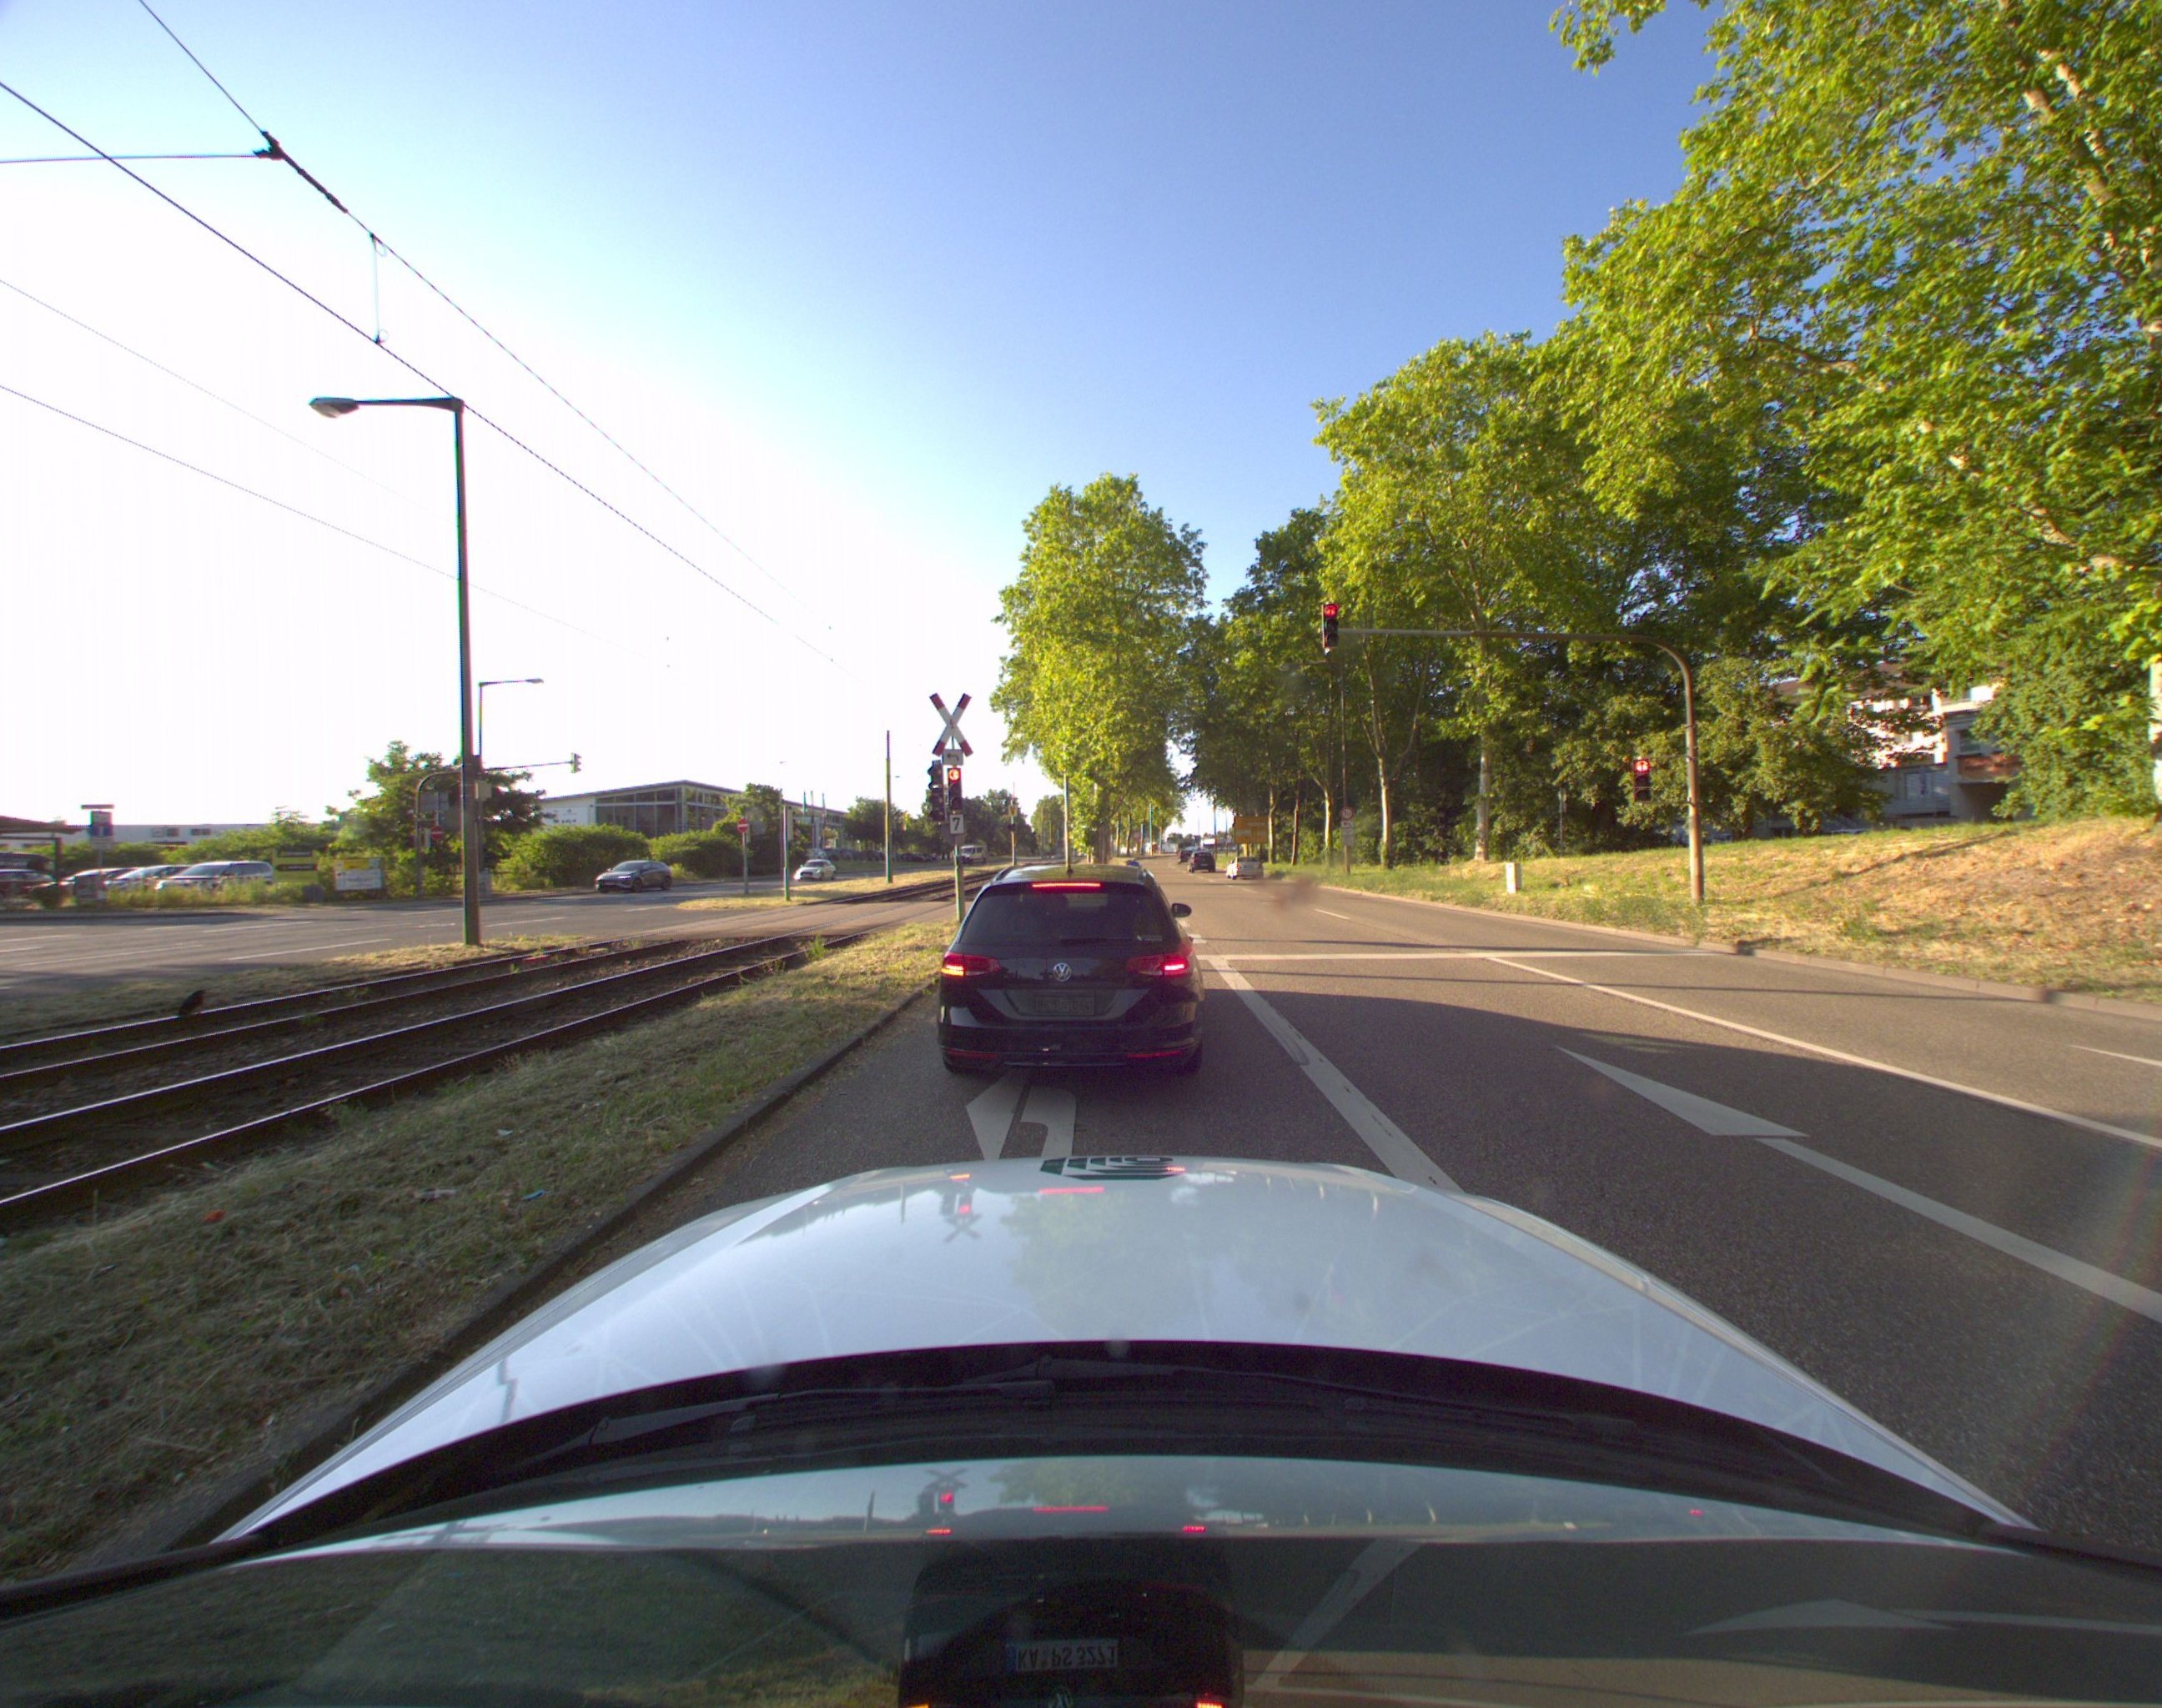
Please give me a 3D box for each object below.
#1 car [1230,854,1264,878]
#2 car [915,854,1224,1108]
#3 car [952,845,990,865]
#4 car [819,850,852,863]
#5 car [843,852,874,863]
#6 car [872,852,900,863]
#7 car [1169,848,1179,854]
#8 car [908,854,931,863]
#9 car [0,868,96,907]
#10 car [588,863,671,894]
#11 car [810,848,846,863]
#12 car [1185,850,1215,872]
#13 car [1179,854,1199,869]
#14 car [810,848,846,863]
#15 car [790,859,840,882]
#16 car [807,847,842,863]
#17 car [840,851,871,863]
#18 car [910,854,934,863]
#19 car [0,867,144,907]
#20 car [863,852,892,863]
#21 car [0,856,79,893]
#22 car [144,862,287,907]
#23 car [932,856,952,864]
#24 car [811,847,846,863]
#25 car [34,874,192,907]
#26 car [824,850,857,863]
[{"bbox_3d":[9.371,0.679,46.178,1.600,1.294,3.991,0,0,7],"label":"car"},{"bbox_3d":[-0.022,0.742,6.534,1.788,1.464,3.584,0,0,1],"label":"car"},{"bbox_3d":[-13.766,0.053,102.547,2.077,2.461,5.884,0,0,22],"label":"car"},{"bbox_3d":[-31.150,0.297,103.430,3.999,1.556,1.732,-1,0,-19],"label":"car"},{"bbox_3d":[-31.435,0.471,115.326,3.983,1.556,1.739,-1,0,-7],"label":"car"},{"bbox_3d":[-30.116,0.584,125.960,3.978,1.621,1.742,-1,0,-3],"label":"car"},{"bbox_3d":[23.544,-0.714,206.394,1.988,1.420,3.997,-1,0,-2],"label":"car"},{"bbox_3d":[-29.101,0.860,146.852,3.978,1.621,1.742,-1,0,-3],"label":"car"},{"bbox_3d":[-47.162,1.454,36.058,1.970,1.583,4.174,0,0,2],"label":"car"},{"bbox_3d":[-23.836,1.264,43.190,1.854,1.481,4.176,0,0,3],"label":"car"},{"bbox_3d":[-29.950,0.161,96.396,3.999,1.704,1.732,-1,0,-19],"label":"car"},{"bbox_3d":[8.807,0.494,60.441,1.701,1.561,4.167,-1,0,2],"label":"car"},{"bbox_3d":[11.853,0.820,89.758,1.864,1.635,4.373,-1,0,3],"label":"car"},{"bbox_3d":[-29.260,0.143,94.127,3.999,1.704,1.732,-1,0,-19],"label":"car"},{"bbox_3d":[-18.930,1.149,58.091,1.853,1.481,4.098,0,0,5],"label":"car"},{"bbox_3d":[-31.644,0.127,100.531,3.999,1.816,1.732,-1,0,-19],"label":"car"},{"bbox_3d":[-31.226,0.433,112.620,3.999,1.556,1.732,-1,0,-19],"label":"car"},{"bbox_3d":[-29.253,0.904,150.021,3.978,1.621,1.742,-1,0,-3],"label":"car"},{"bbox_3d":[-44.712,1.406,35.906,1.855,1.583,4.174,0,0,2],"label":"car"},{"bbox_3d":[-30.605,0.541,122.759,3.978,1.621,1.742,-1,0,-3],"label":"car"},{"bbox_3d":[-60.423,1.155,45.919,1.855,2.014,4.773,0,0,2],"label":"car"},{"bbox_3d":[-38.525,1.324,36.424,1.855,1.821,4.174,0,0,2],"label":"car"},{"bbox_3d":[-28.806,1.176,168.933,3.977,1.556,1.742,-1,0,-2],"label":"car"},{"bbox_3d":[-30.601,0.125,98.750,3.999,1.816,1.732,-1,0,-19],"label":"car"},{"bbox_3d":[-42.473,1.565,35.902,1.855,1.267,4.174,0,0,2],"label":"car"},{"bbox_3d":[-31.364,0.341,106.221,3.999,1.556,1.732,-1,0,-19],"label":"car"}]
